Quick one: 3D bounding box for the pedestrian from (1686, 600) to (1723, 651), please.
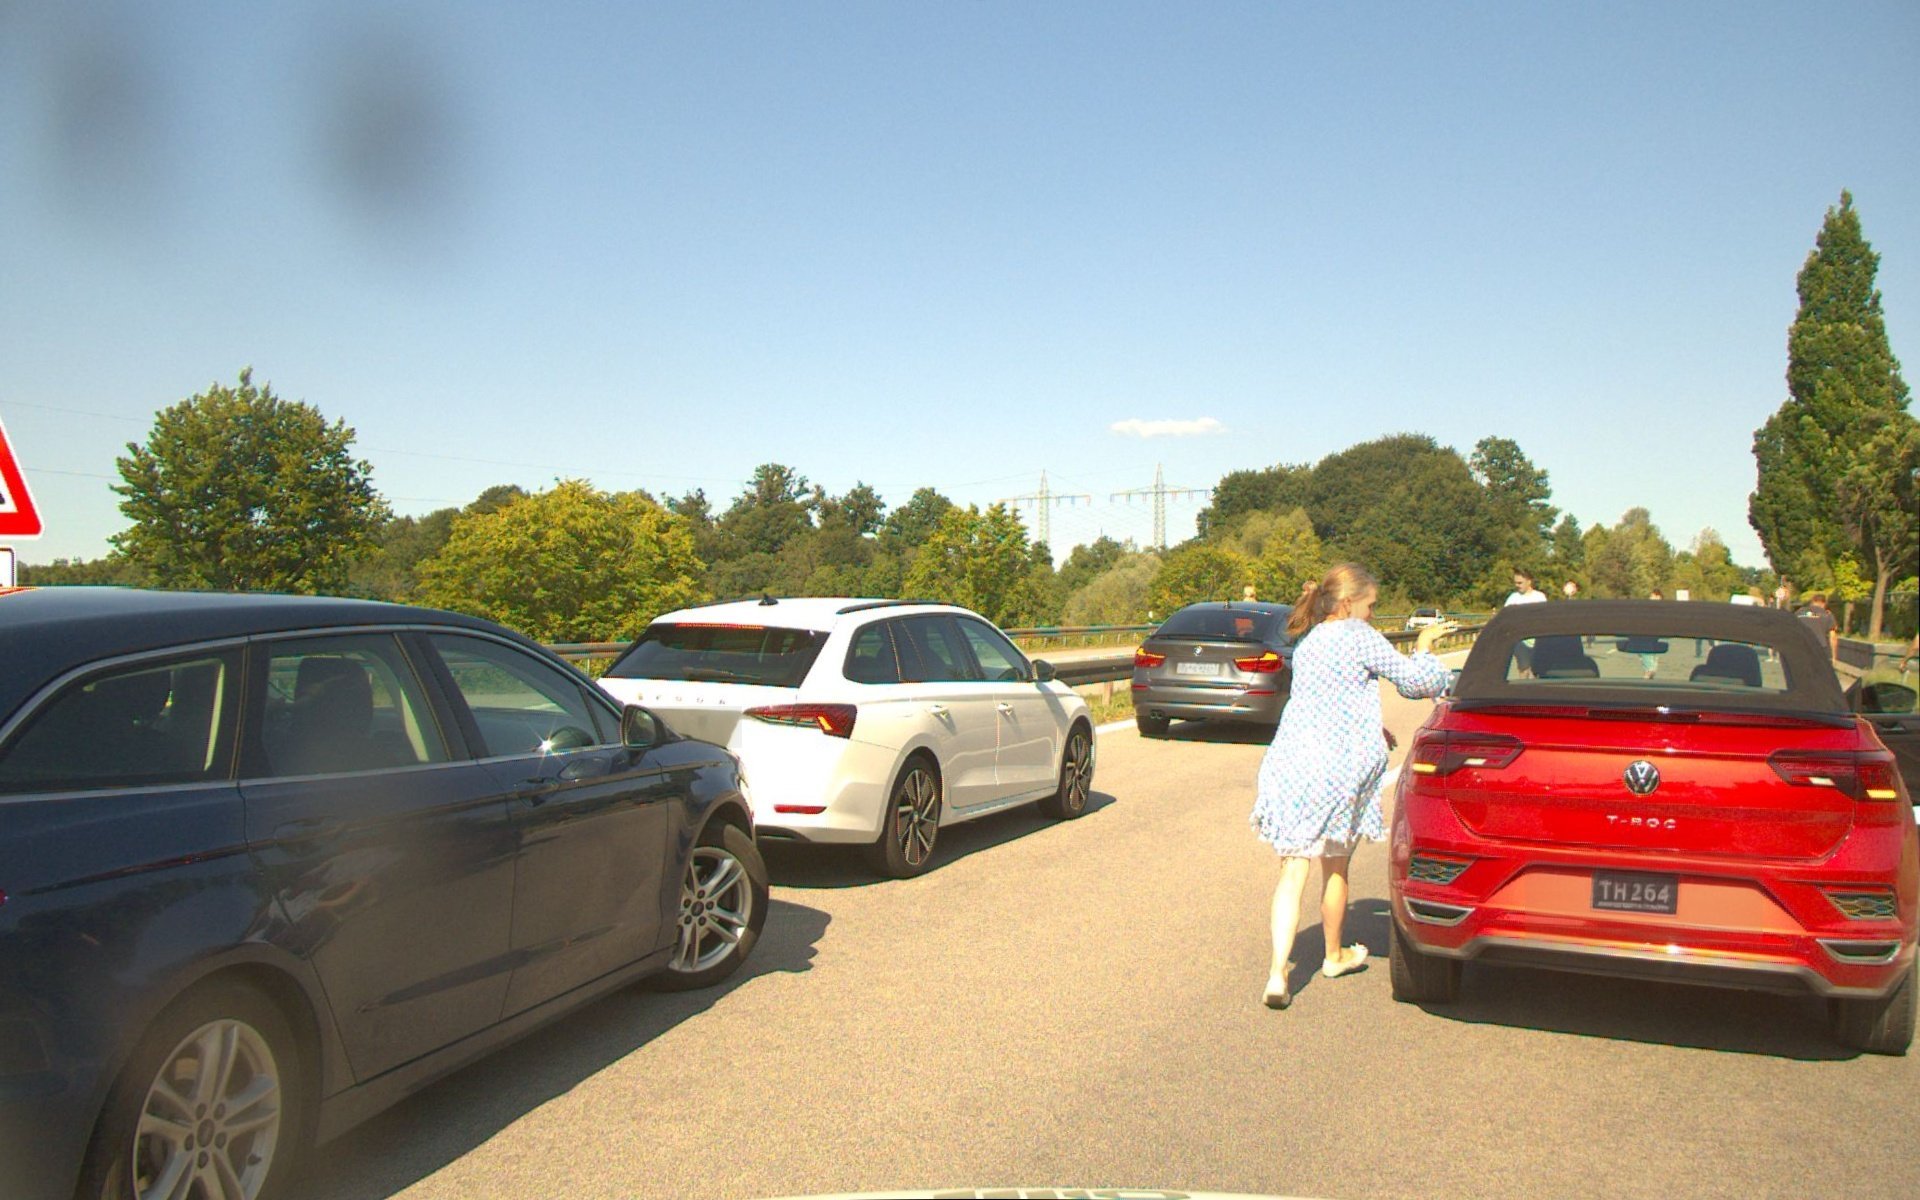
[{"bbox_3d":[25.547,0.871,56.741,1.036,1.719,1.015,1,0,30],"label":"pedestrian"}]

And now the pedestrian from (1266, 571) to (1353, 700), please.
[{"bbox_3d":[5.345,0.535,25.279,1.045,1.916,1.092,0,0,27],"label":"pedestrian"}]

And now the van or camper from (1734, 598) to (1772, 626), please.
[{"bbox_3d":[69.085,1.073,144.048,1.963,2.356,4.446,1,0,40],"label":"van or camper"}]

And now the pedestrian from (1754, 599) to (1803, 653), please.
[{"bbox_3d":[26.325,0.831,53.196,0.993,1.719,0.992,1,0,-23],"label":"pedestrian"}]

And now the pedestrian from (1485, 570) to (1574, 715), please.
[{"bbox_3d":[7.915,0.568,22.969,1.083,1.946,1.257,-1,0,22],"label":"pedestrian"}]

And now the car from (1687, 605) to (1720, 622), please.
[{"bbox_3d":[67.145,1.237,149.368,1.705,1.513,4.189,1,0,39],"label":"car"}]

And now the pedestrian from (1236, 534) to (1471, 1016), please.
[{"bbox_3d":[1.479,0.624,6.330,0.821,1.712,0.744,0,0,10],"label":"pedestrian"}]

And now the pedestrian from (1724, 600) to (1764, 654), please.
[{"bbox_3d":[25.882,0.880,54.608,1.093,1.719,0.971,1,0,31],"label":"pedestrian"}]

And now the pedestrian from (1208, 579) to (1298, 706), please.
[{"bbox_3d":[4.280,0.604,24.134,1.020,1.794,1.117,-1,0,26],"label":"pedestrian"}]

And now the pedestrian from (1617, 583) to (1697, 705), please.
[{"bbox_3d":[10.810,0.661,25.681,1.065,1.820,1.108,1,0,21],"label":"pedestrian"}]

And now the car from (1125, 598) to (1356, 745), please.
[{"bbox_3d":[3.340,0.727,19.005,1.660,1.451,4.333,1,0,23],"label":"car"}]

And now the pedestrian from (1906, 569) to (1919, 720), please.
[{"bbox_3d":[11.663,0.526,19.436,0.877,1.755,0.753,1,0,27],"label":"pedestrian"}]

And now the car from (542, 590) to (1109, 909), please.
[{"bbox_3d":[-0.537,0.700,10.015,1.660,1.466,4.209,1,0,23],"label":"car"}]

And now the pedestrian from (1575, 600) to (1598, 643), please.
[{"bbox_3d":[25.480,0.866,67.251,0.776,1.719,0.791,1,0,28],"label":"pedestrian"}]

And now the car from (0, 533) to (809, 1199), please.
[{"bbox_3d":[-2.013,0.655,4.773,1.750,1.519,4.496,0,0,14],"label":"car"}]

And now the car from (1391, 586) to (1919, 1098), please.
[{"bbox_3d":[3.060,0.729,7.199,1.697,1.513,4.209,1,0,23],"label":"car"}]

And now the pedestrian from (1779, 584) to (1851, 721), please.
[{"bbox_3d":[11.551,0.700,22.365,0.795,1.790,0.827,1,0,24],"label":"pedestrian"}]

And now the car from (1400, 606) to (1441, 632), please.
[{"bbox_3d":[27.241,1.097,97.682,1.661,1.451,4.302,1,0,25],"label":"car"}]
